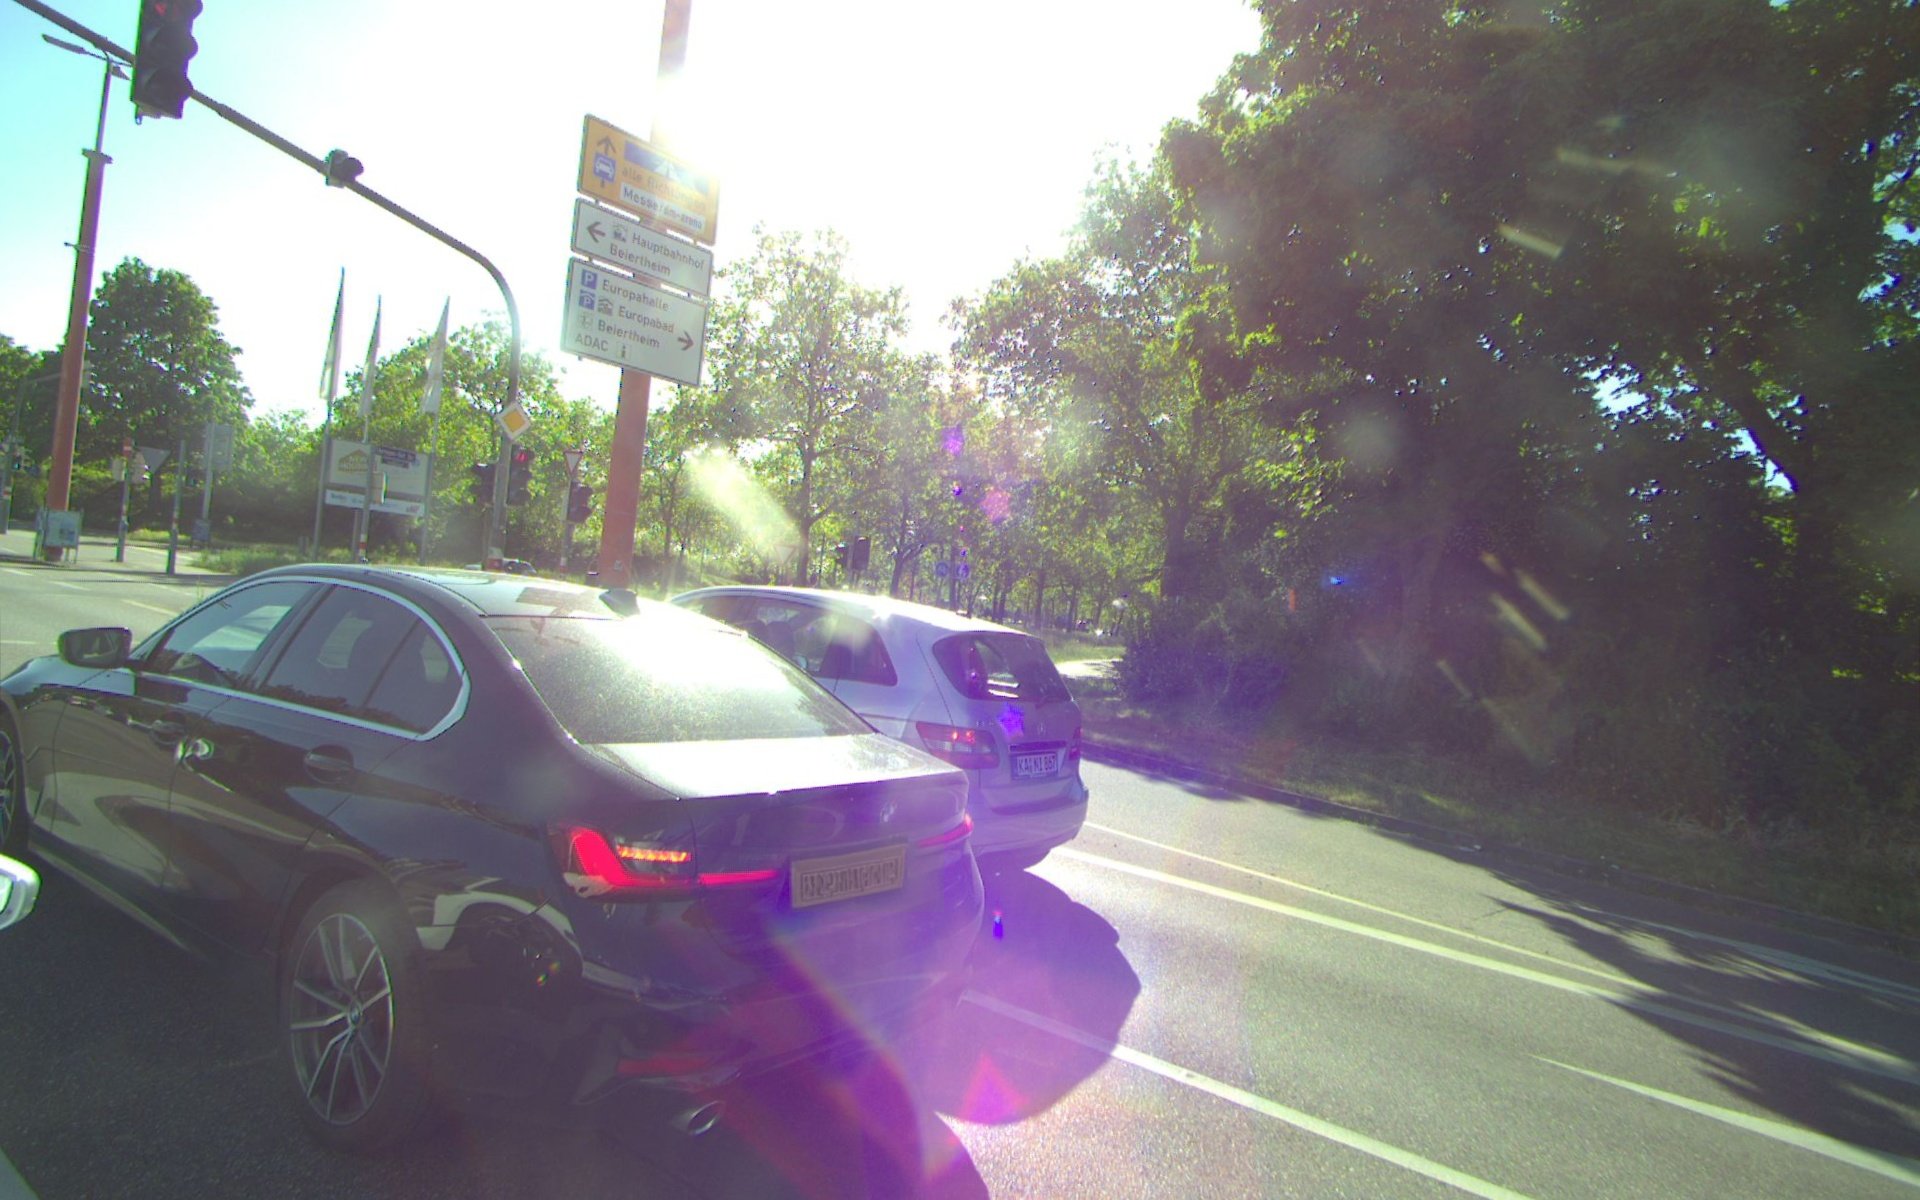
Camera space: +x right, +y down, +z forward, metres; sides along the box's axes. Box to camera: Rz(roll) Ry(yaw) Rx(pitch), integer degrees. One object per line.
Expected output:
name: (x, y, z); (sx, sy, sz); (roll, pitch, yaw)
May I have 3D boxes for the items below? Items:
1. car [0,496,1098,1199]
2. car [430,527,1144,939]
car: (-1.958, 0.530, 3.885); (4.403, 1.411, 1.996); (7, 0, 32)
car: (-1.280, 0.641, 6.793); (4.403, 1.706, 1.970); (7, -1, 32)
